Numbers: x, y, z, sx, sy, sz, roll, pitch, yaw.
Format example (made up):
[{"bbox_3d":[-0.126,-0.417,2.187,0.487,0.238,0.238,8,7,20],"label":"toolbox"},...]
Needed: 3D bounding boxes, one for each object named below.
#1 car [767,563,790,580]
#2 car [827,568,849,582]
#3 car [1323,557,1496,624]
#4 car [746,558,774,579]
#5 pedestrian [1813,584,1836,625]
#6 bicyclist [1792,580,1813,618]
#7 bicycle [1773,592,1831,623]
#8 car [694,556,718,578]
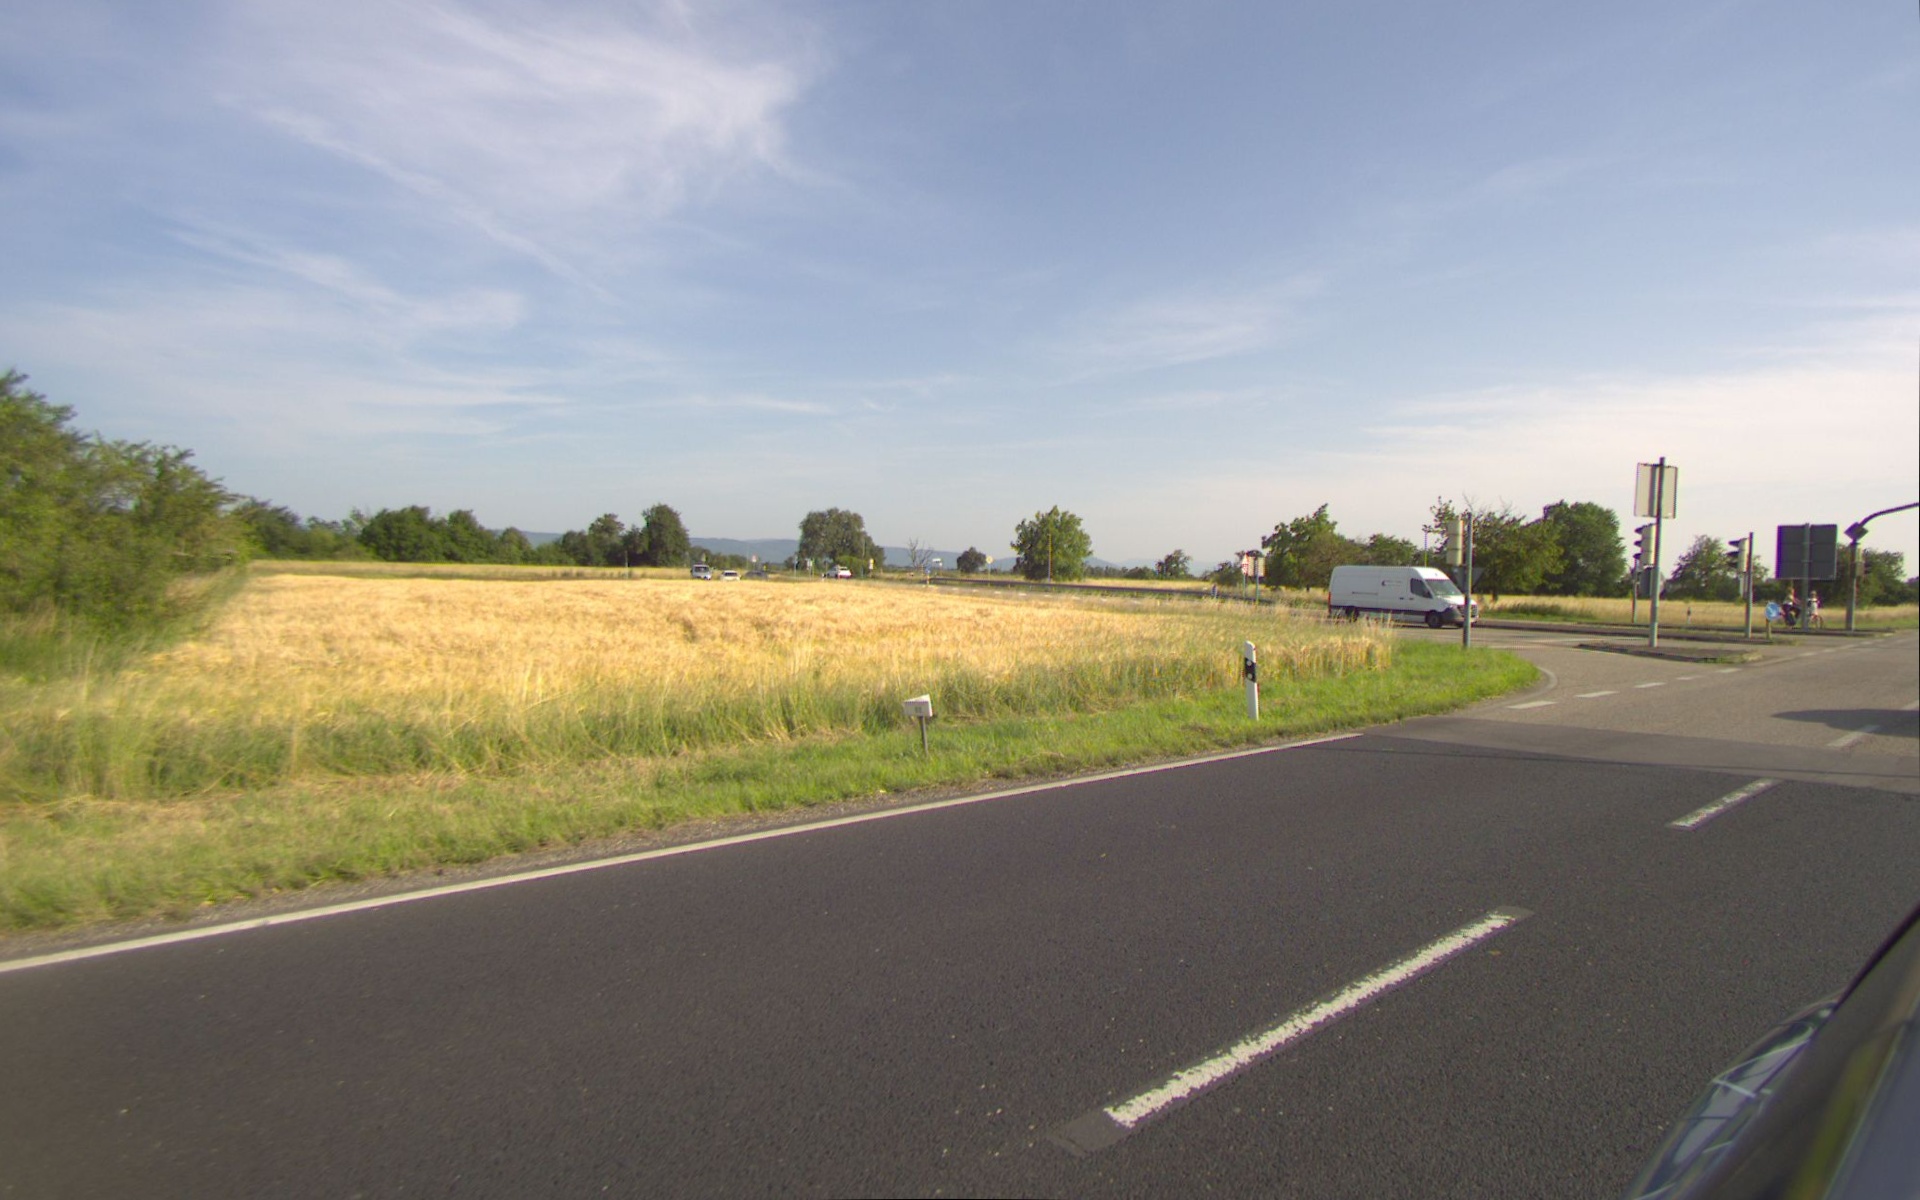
[{"bbox_3d":[-20.060,-3.156,111.509,1.808,1.776,4.008,0,1,-21],"label":"car"},{"bbox_3d":[-15.172,-3.129,126.001,1.698,1.683,4.008,0,1,-23],"label":"car"},{"bbox_3d":[19.474,-0.522,44.371,2.049,2.702,7.229,0,2,-27],"label":"car"},{"bbox_3d":[-19.460,-3.035,98.485,1.808,1.972,4.007,0,1,-24],"label":"car"},{"bbox_3d":[37.832,0.199,44.280,0.586,1.773,0.624,0,0,-30],"label":"pedestrian"},{"bbox_3d":[36.252,-0.032,43.550,0.495,1.632,0.560,0,0,-34],"label":"bicyclist"},{"bbox_3d":[36.097,0.314,43.401,0.519,1.305,1.858,0,0,-37],"label":"bicycle"},{"bbox_3d":[-23.868,-3.030,94.938,1.808,1.972,4.008,0,1,-19],"label":"car"}]
